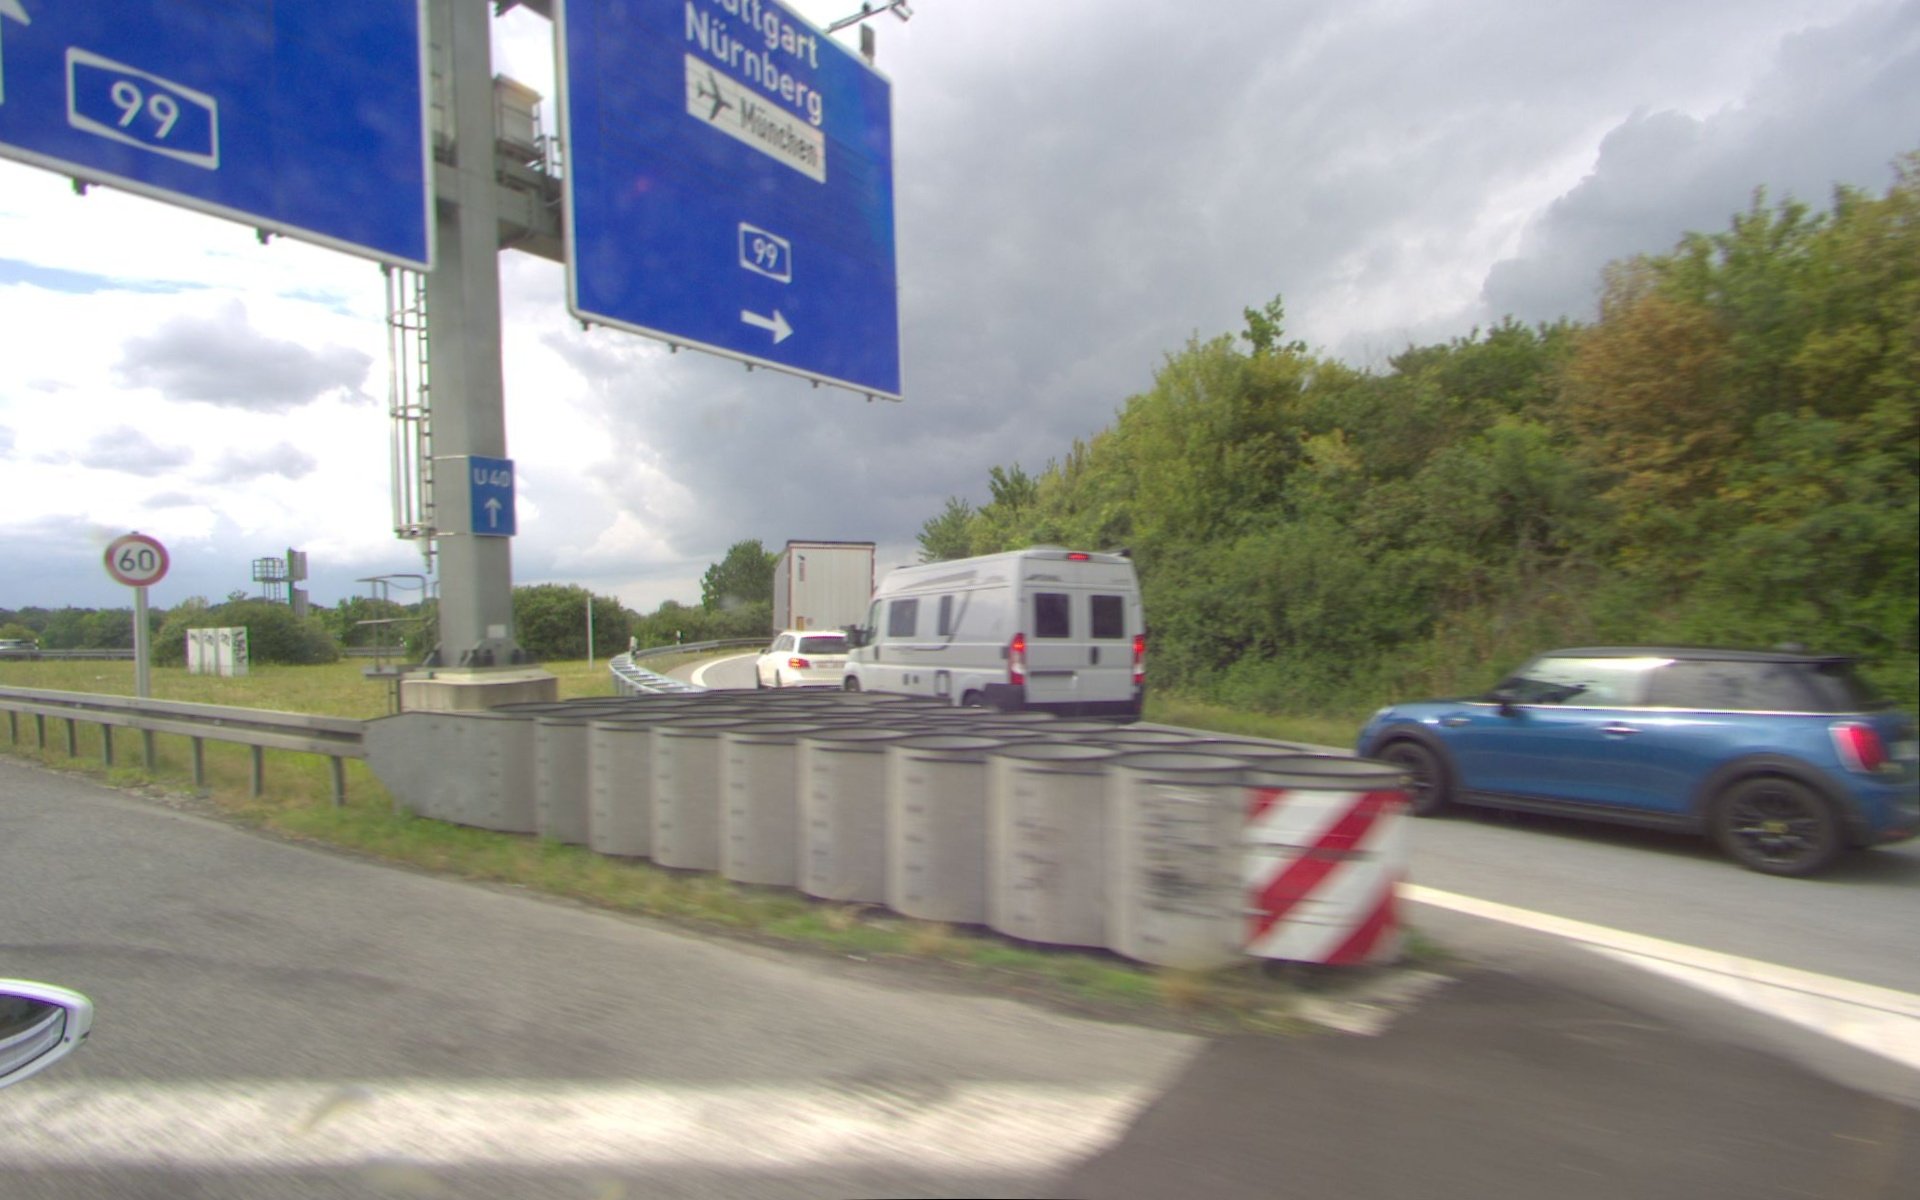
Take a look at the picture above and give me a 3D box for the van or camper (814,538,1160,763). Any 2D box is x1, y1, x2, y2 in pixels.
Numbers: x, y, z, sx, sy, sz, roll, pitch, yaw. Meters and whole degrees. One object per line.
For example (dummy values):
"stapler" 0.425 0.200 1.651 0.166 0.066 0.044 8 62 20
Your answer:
"van or camper" 0.042 0.661 14.821 2.268 2.601 6.129 0 -1 -30

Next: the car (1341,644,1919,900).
"car" 5.053 1.067 7.702 1.713 1.437 3.642 1 -3 -35

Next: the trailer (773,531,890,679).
"trailer" -4.926 0.360 35.550 3.279 4.246 13.026 0 -2 -11

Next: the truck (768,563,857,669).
"truck" -6.423 0.735 42.655 3.308 4.147 6.784 0 -2 -12

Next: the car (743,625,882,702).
"car" -3.474 1.350 22.728 2.176 1.520 4.776 0 -1 -21

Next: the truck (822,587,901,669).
"truck" -5.847 1.734 61.366 3.219 4.674 8.995 0 -2 5

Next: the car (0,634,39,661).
"car" -58.783 2.871 60.701 3.923 1.571 2.000 0 -2 -7
